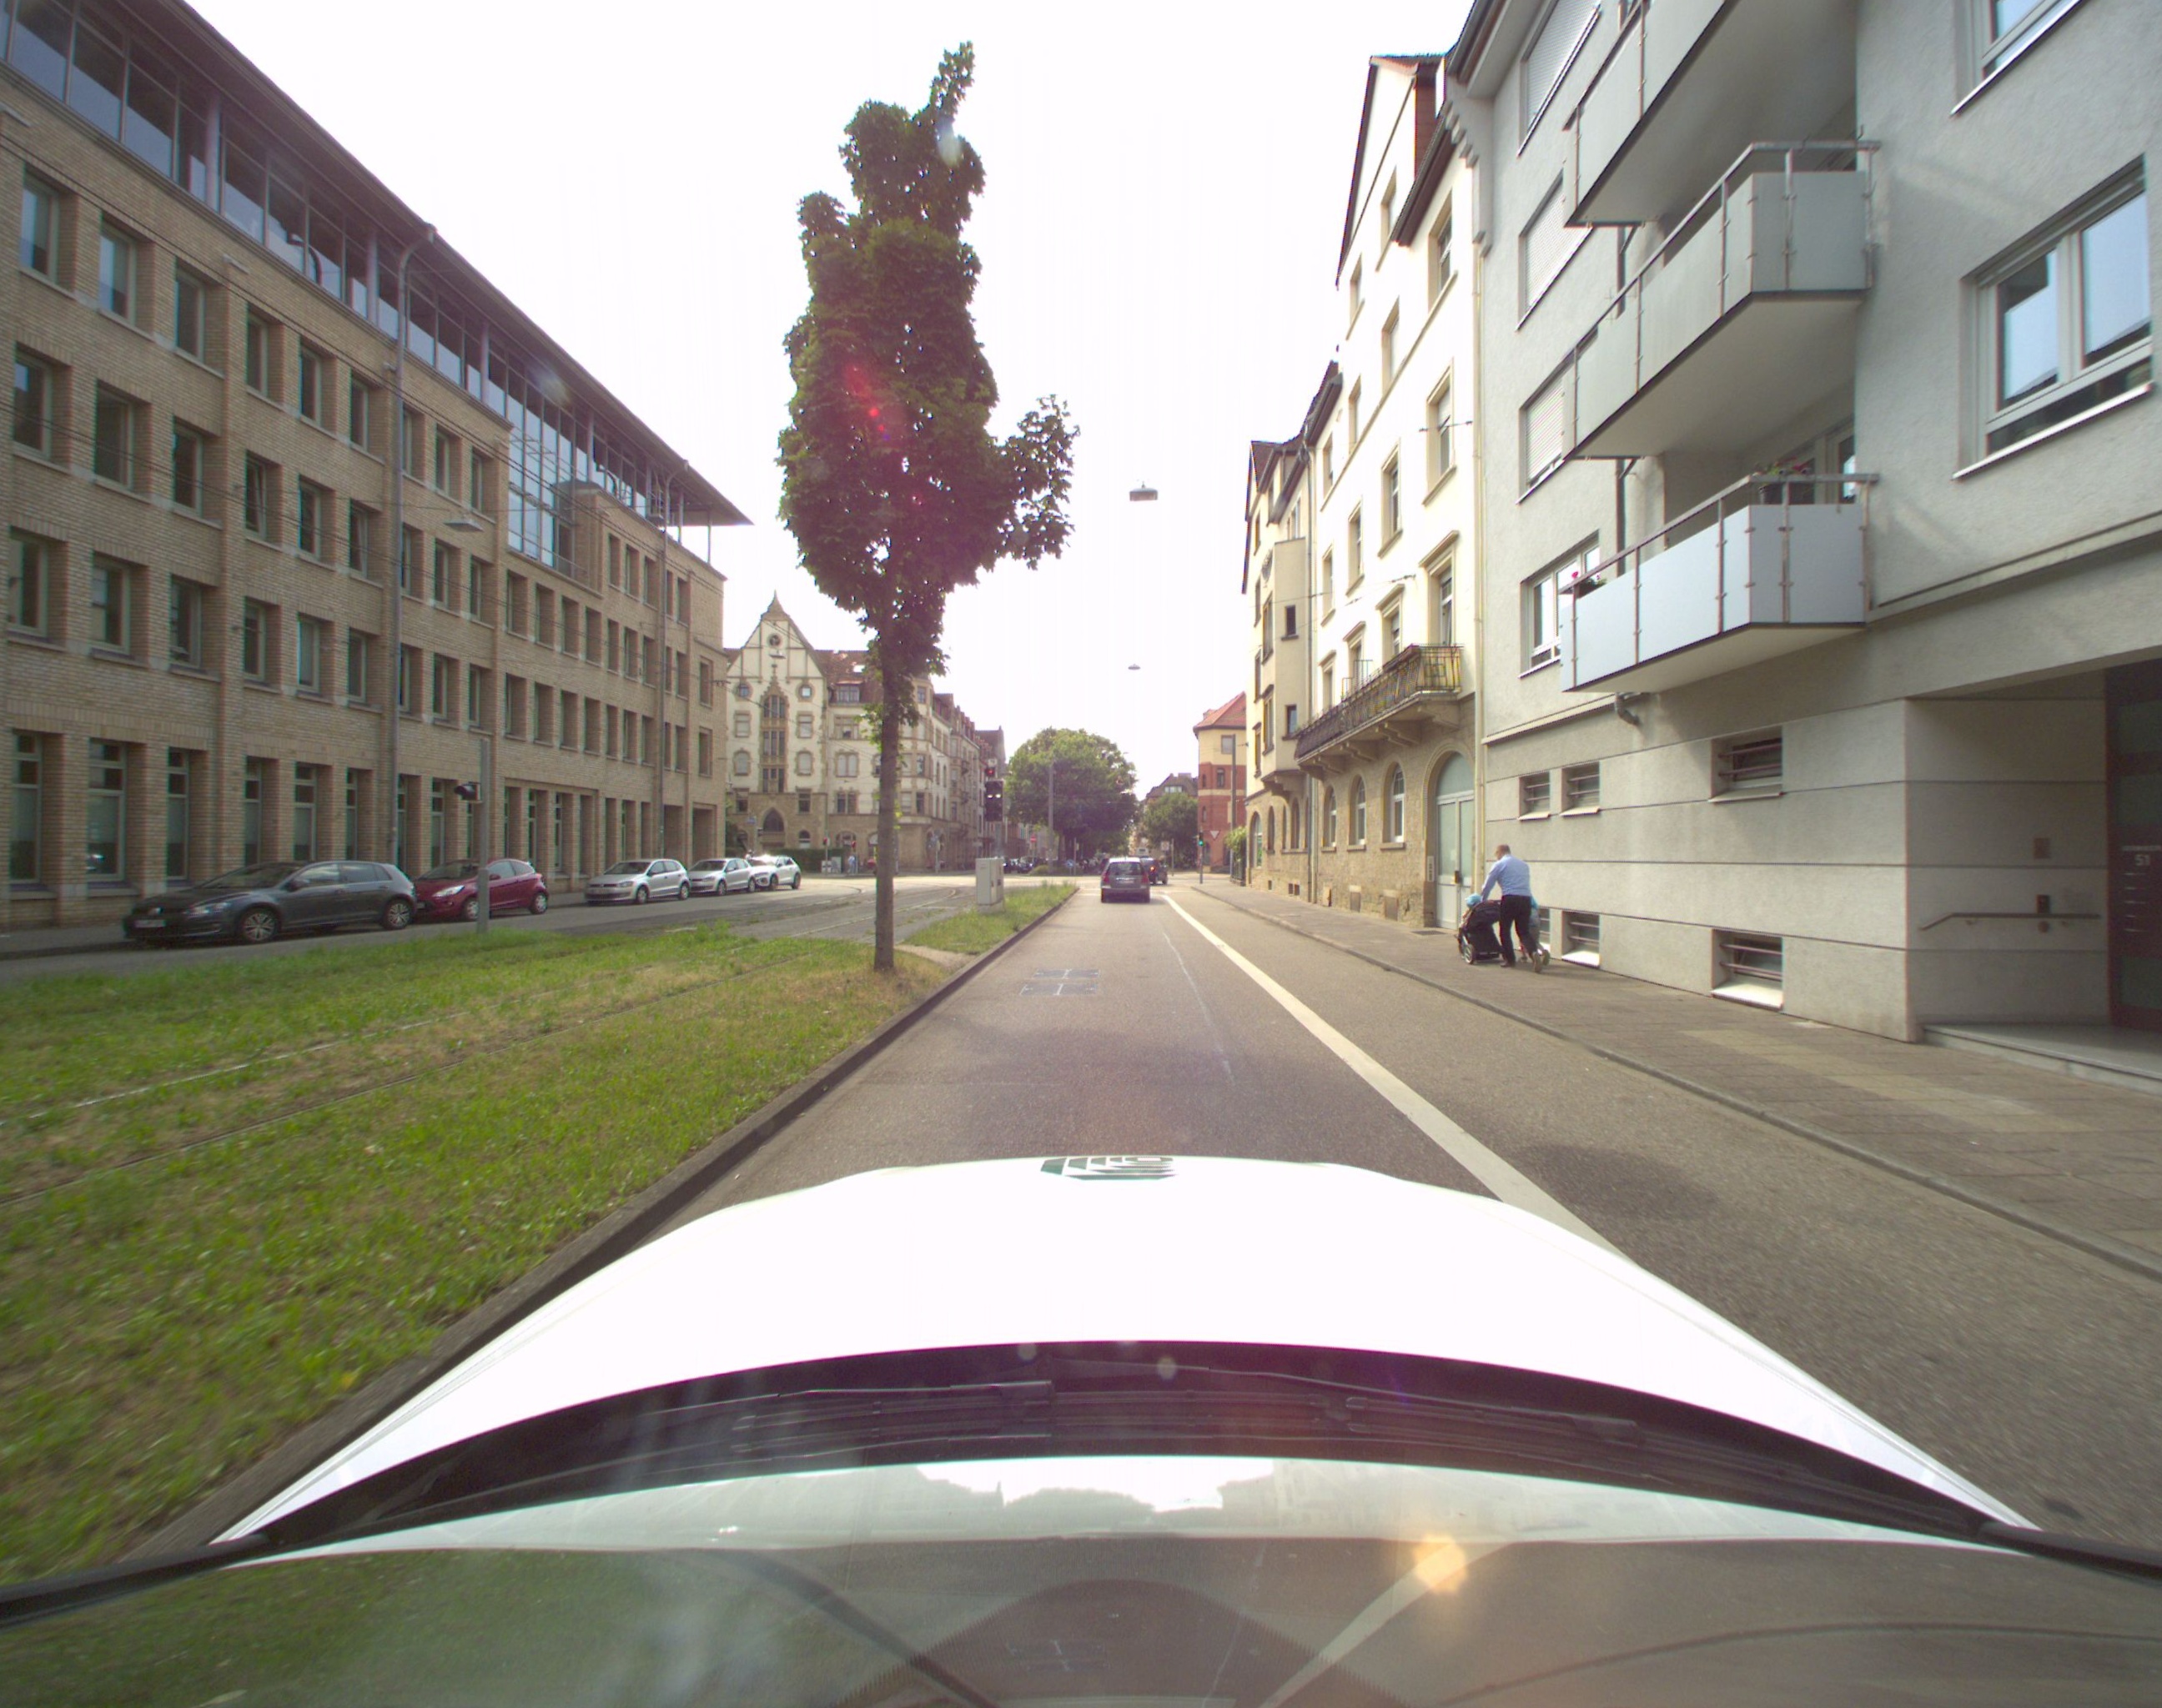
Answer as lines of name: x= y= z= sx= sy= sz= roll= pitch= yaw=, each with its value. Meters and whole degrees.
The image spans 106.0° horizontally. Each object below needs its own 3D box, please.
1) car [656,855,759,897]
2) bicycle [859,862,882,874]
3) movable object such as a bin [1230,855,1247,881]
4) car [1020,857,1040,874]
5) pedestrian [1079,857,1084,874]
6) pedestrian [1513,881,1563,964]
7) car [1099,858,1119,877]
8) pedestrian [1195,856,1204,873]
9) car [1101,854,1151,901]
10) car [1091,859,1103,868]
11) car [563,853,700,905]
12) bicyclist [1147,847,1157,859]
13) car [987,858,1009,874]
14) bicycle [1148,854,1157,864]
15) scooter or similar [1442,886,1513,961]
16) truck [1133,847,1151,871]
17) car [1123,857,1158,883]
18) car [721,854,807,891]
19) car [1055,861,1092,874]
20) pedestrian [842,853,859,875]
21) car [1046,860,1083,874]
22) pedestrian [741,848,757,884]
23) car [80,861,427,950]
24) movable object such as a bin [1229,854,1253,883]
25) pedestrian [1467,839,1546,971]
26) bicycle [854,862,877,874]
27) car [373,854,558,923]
car: x=-14.332 y=0.809 z=31.534 sx=1.924 sy=1.531 sz=4.018 roll=0 pitch=0 yaw=4
bicycle: x=-19.480 y=1.276 z=75.423 sx=1.914 sy=1.081 sz=0.776 roll=-1 pitch=-1 yaw=-8
movable object such as a bin: x=9.111 y=0.785 z=47.069 sx=0.713 sy=1.472 sz=0.980 roll=0 pitch=-1 yaw=-6
car: x=-5.385 y=1.183 z=85.994 sx=1.988 sy=1.728 sz=3.996 roll=-1 pitch=-1 yaw=-2
pedestrian: x=0.086 y=1.162 z=82.222 sx=0.491 sy=1.725 sz=0.654 roll=0 pitch=-1 yaw=1
pedestrian: x=6.495 y=0.961 z=11.597 sx=0.454 sy=1.135 sz=0.494 roll=0 pitch=-1 yaw=4
car: x=2.720 y=1.297 z=78.804 sx=1.715 sy=1.706 sz=3.681 roll=-1 pitch=-1 yaw=4
pedestrian: x=11.100 y=0.980 z=76.310 sx=0.864 sy=1.657 sz=0.738 roll=0 pitch=-1 yaw=7
car: x=1.671 y=0.822 z=30.032 sx=1.715 sy=1.605 sz=3.681 roll=-1 pitch=-1 yaw=4
car: x=2.491 y=1.489 z=129.490 sx=1.745 sy=1.517 sz=3.502 roll=0 pitch=0 yaw=3
car: x=-14.375 y=0.751 z=26.349 sx=1.843 sy=1.531 sz=4.215 roll=0 pitch=0 yaw=4
bicyclist: x=6.645 y=-0.070 z=75.925 sx=0.832 sy=1.082 sz=1.403 roll=-1 pitch=-1 yaw=7
car: x=-8.612 y=1.220 z=84.647 sx=1.988 sy=1.618 sz=3.996 roll=-1 pitch=-1 yaw=-2
bicycle: x=6.660 y=0.478 z=75.964 sx=0.745 sy=0.958 sz=2.303 roll=-1 pitch=-1 yaw=7
scooter or similar: x=5.849 y=1.003 z=12.049 sx=0.590 sy=1.002 sz=0.906 roll=-4 pitch=-1 yaw=4
truck: x=7.834 y=0.622 z=104.989 sx=2.112 sy=2.970 sz=4.007 roll=-1 pitch=-1 yaw=7
car: x=3.429 y=0.896 z=47.282 sx=1.971 sy=1.442 sz=4.004 roll=0 pitch=0 yaw=3
car: x=-13.974 y=0.796 z=36.199 sx=1.924 sy=1.535 sz=4.262 roll=0 pitch=0 yaw=4
car: x=-0.825 y=1.418 z=87.066 sx=1.983 sy=1.339 sz=3.956 roll=1 pitch=-1 yaw=-36
pedestrian: x=-18.094 y=0.757 z=63.898 sx=1.029 sy=1.722 sz=0.767 roll=1 pitch=-1 yaw=-41
car: x=-1.737 y=1.329 z=84.486 sx=1.983 sy=1.495 sz=3.956 roll=1 pitch=-1 yaw=-36
pedestrian: x=-16.922 y=0.614 z=41.537 sx=0.763 sy=1.795 sz=0.953 roll=1 pitch=-1 yaw=-22
car: x=-14.917 y=0.842 z=15.108 sx=1.924 sy=1.396 sz=4.244 roll=0 pitch=0 yaw=4
movable object such as a bin: x=8.755 y=0.792 z=44.723 sx=1.045 sy=1.539 sz=2.103 roll=-1 pitch=-1 yaw=5
pedestrian: x=5.832 y=0.679 z=11.213 sx=0.618 sy=1.739 sz=0.878 roll=-1 pitch=-1 yaw=4
bicycle: x=-19.287 y=1.252 z=73.031 sx=1.914 sy=1.081 sz=0.776 roll=-1 pitch=-1 yaw=-8
car: x=-14.661 y=0.766 z=19.662 sx=1.576 sy=1.531 sz=3.553 roll=0 pitch=0 yaw=4
